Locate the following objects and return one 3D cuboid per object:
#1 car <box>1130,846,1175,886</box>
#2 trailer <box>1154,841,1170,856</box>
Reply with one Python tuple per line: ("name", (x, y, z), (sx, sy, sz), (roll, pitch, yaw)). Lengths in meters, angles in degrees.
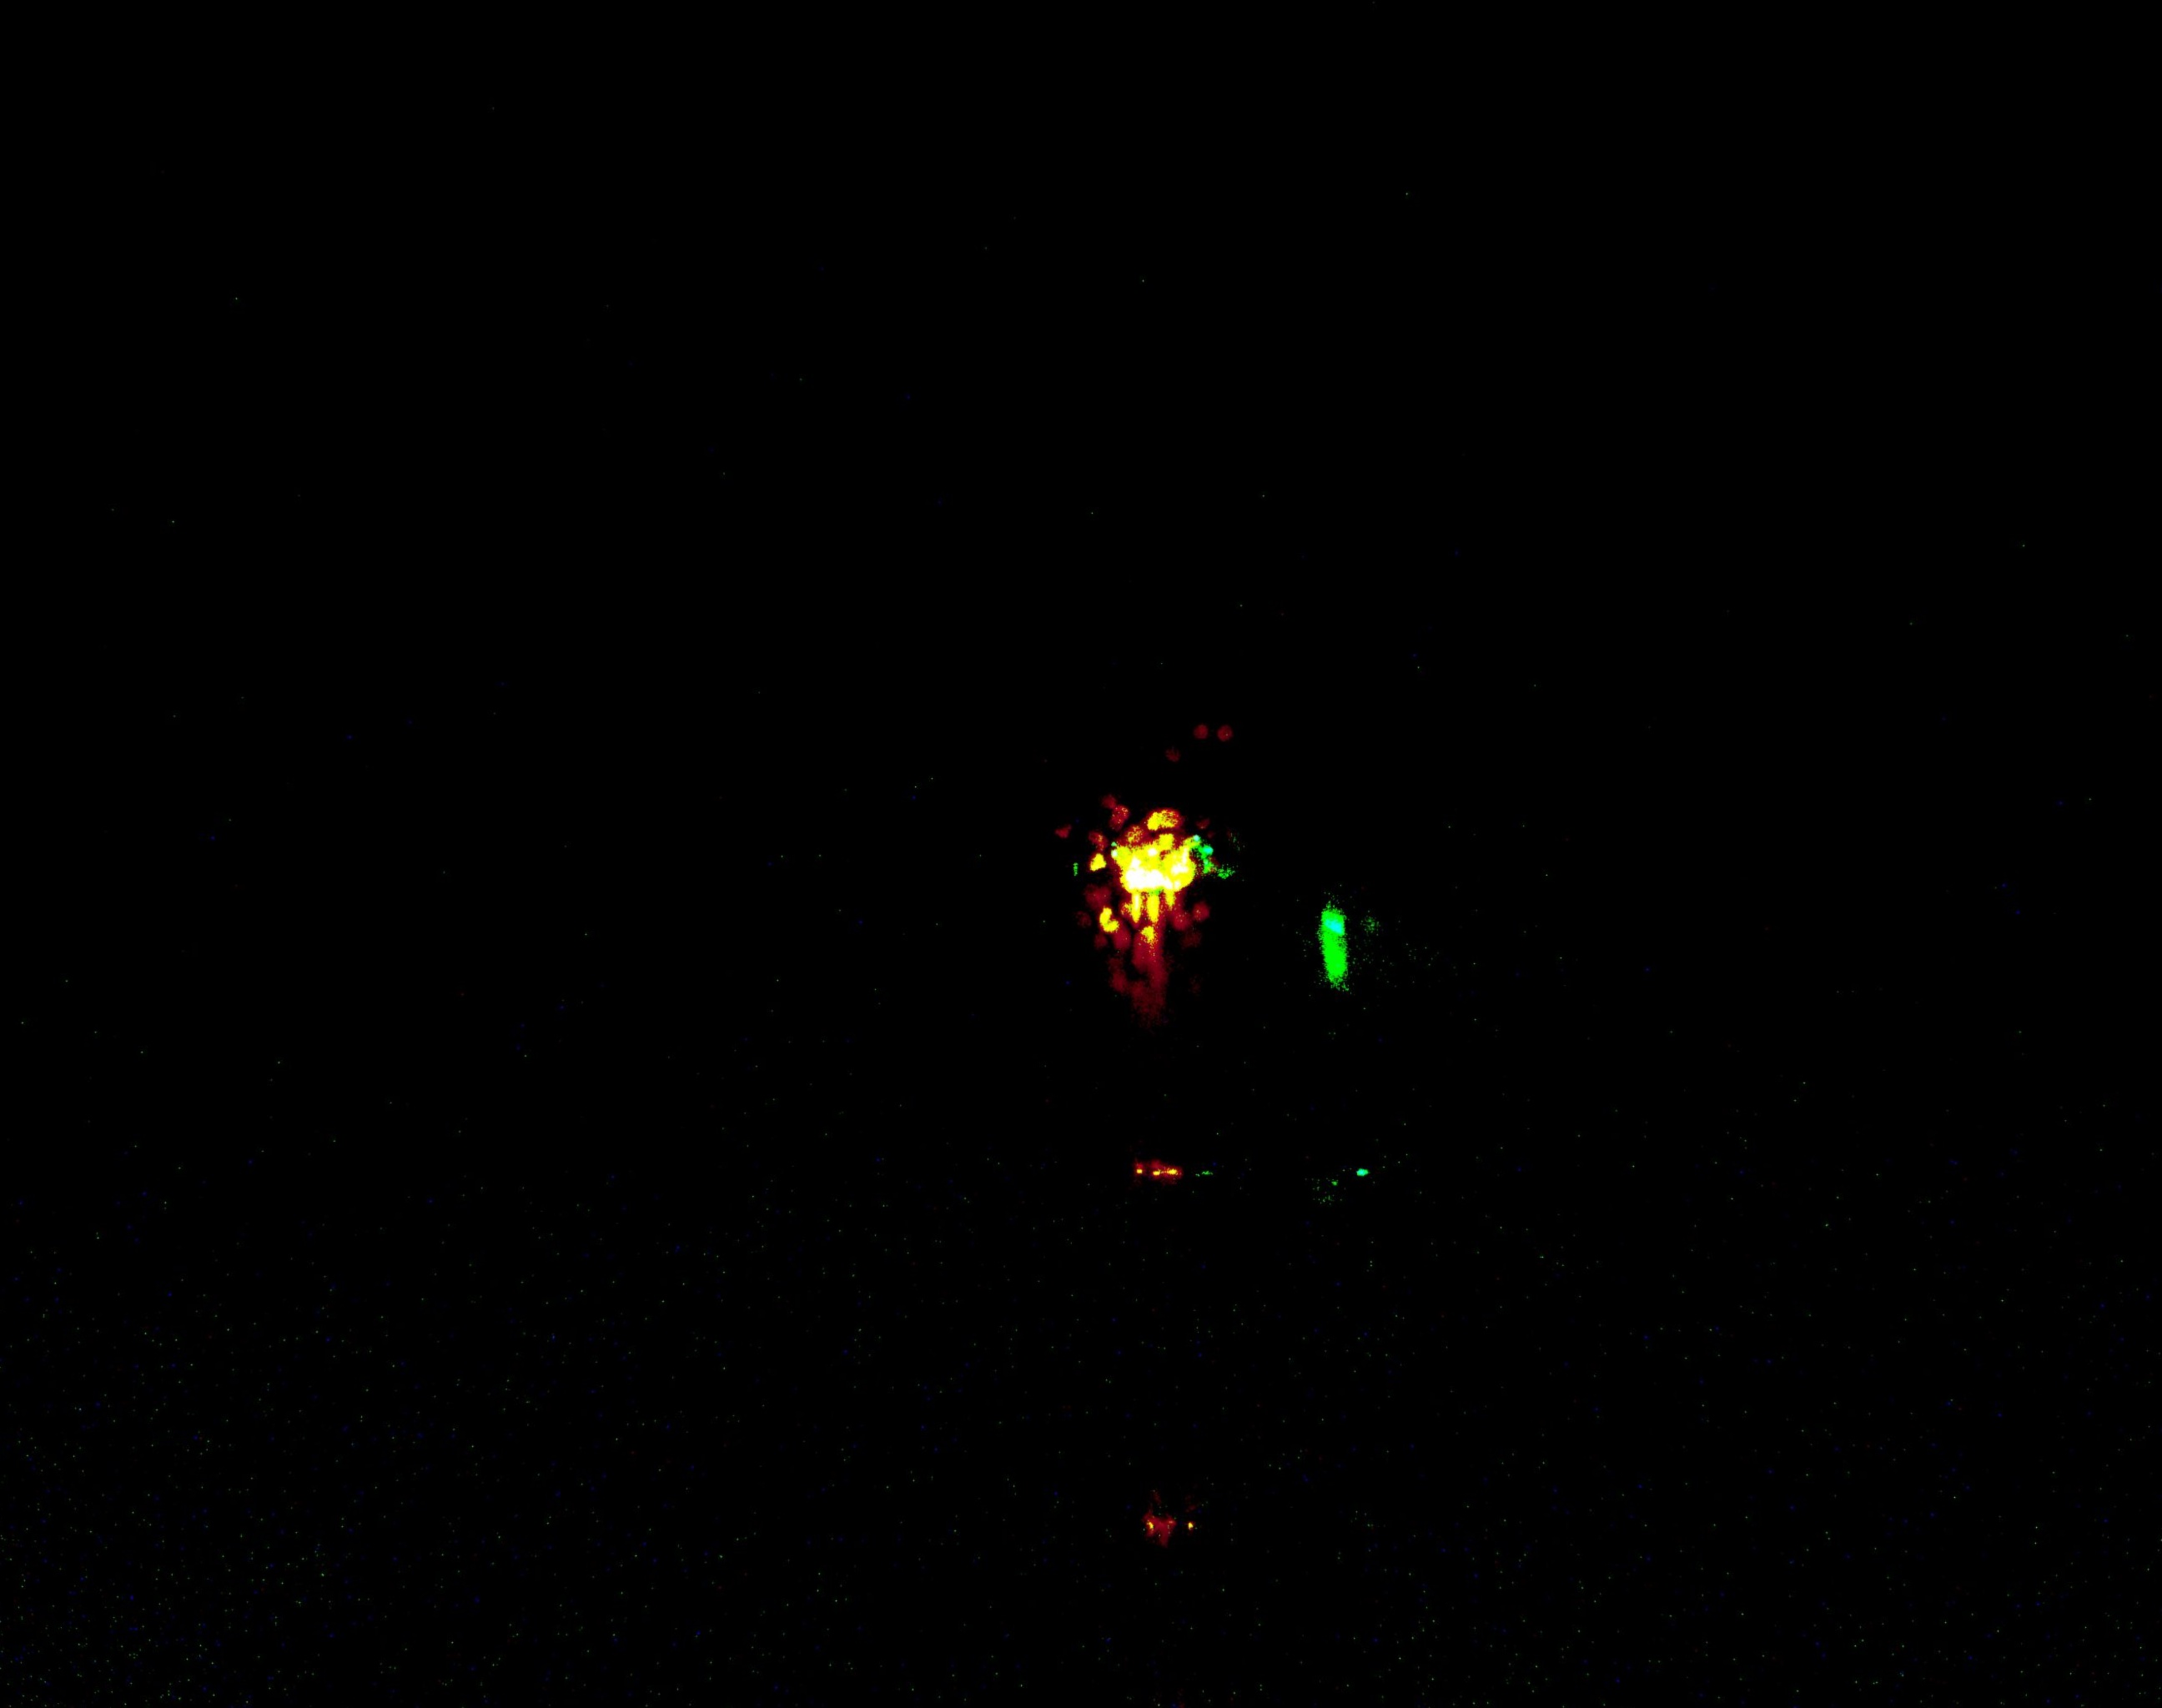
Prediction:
("car", (3.122, 0.491, 35.468), (1.793, 1.628, 3.621), (-2, 0, 5))
("trailer", (13.024, -0.832, 131.672), (1.604, 2.352, 4.418), (0, 0, -8))
